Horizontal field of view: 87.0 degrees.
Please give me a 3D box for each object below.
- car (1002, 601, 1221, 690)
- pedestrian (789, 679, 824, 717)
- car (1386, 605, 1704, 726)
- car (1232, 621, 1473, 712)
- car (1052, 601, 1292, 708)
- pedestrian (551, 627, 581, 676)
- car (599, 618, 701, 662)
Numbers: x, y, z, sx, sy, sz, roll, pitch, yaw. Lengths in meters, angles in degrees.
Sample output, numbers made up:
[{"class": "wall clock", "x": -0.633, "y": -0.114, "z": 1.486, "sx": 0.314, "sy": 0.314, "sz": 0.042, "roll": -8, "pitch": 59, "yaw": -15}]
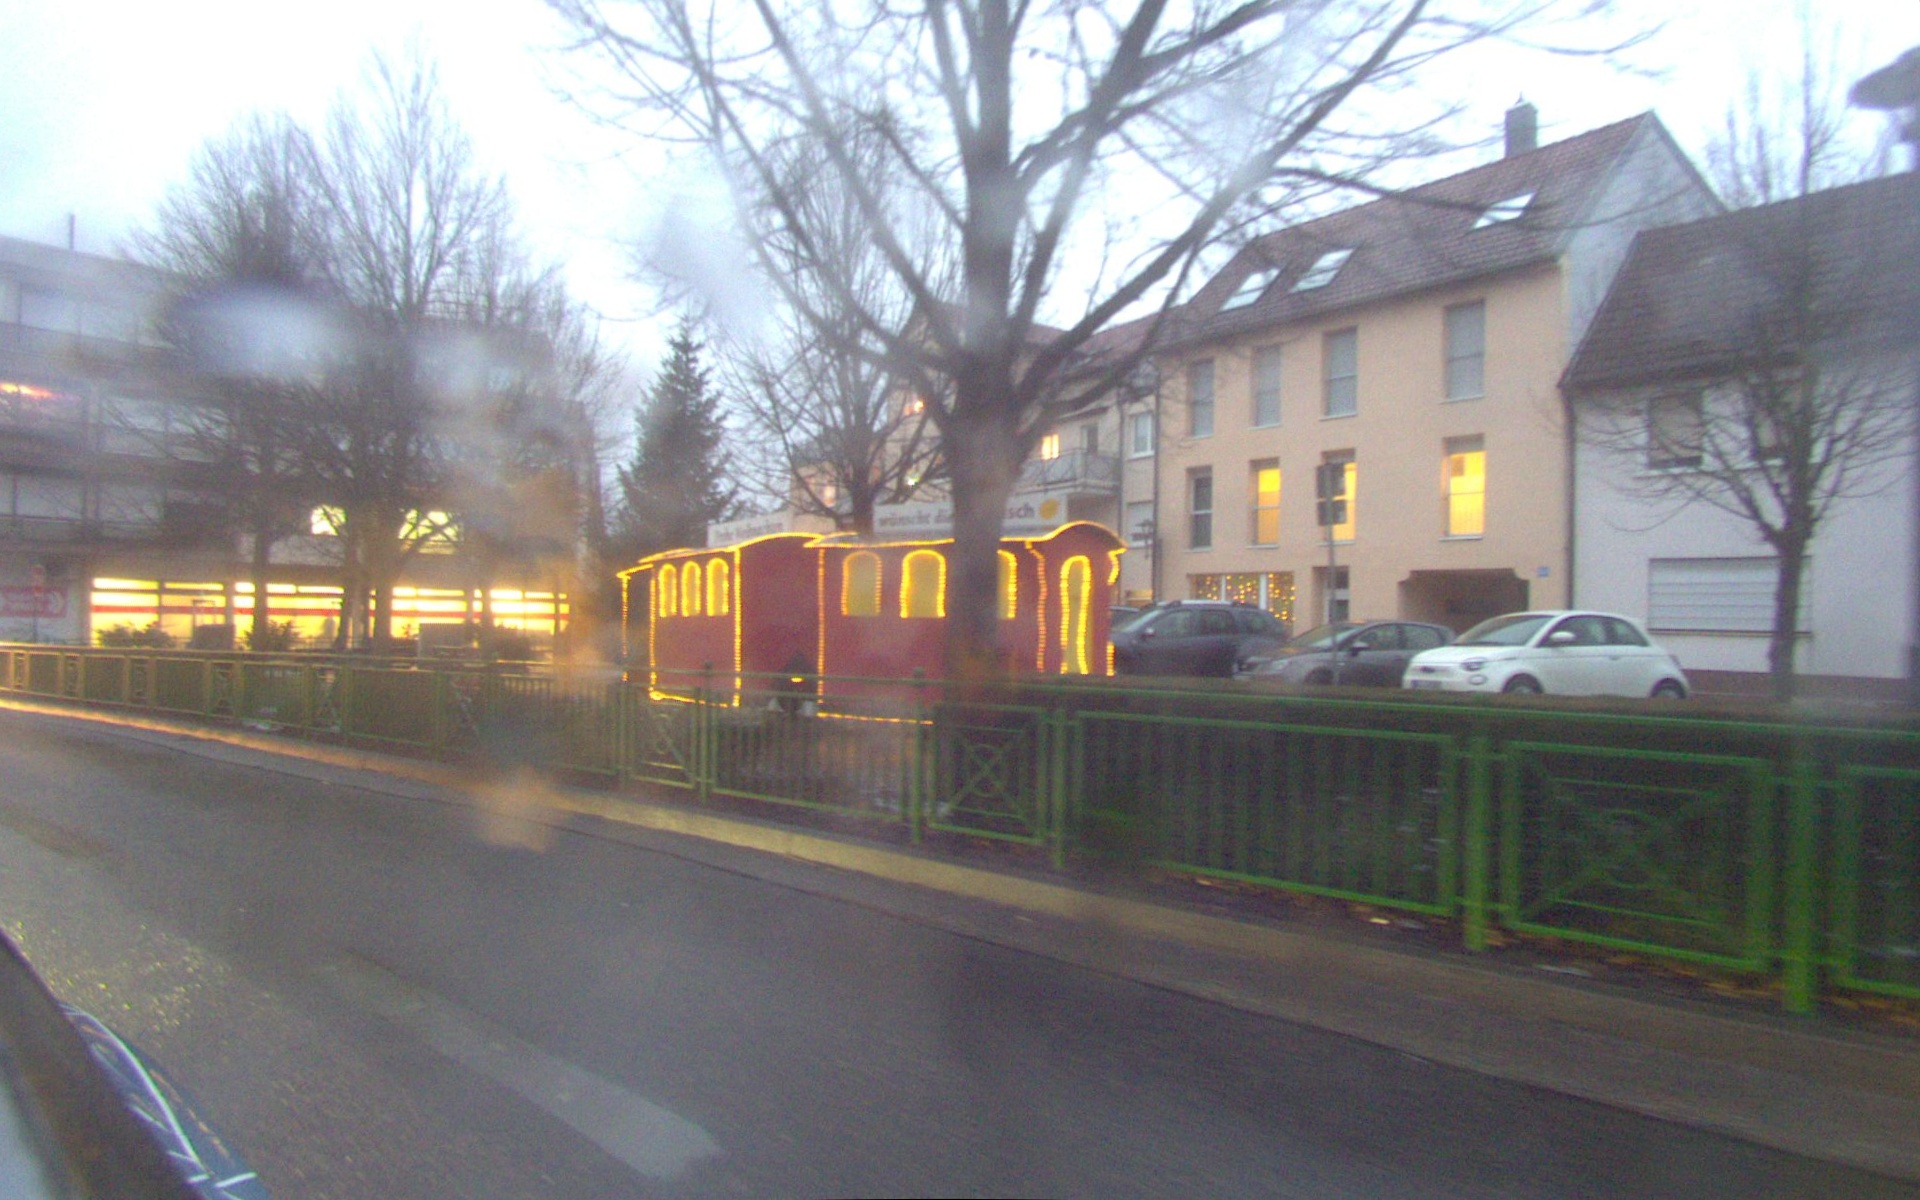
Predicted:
[{"class": "car", "x": 2.932, "y": 0.885, "z": 19.950, "sx": 3.935, "sy": 1.645, "sz": 1.638, "roll": 0, "pitch": -2, "yaw": -10}, {"class": "pedestrian", "x": -2.055, "y": 1.304, "z": 13.525, "sx": 0.361, "sy": 0.488, "sz": 0.291, "roll": -1, "pitch": -4, "yaw": 41}, {"class": "car", "x": 7.655, "y": 0.800, "z": 13.357, "sx": 3.427, "sy": 1.420, "sz": 1.614, "roll": -1, "pitch": -1, "yaw": -14}, {"class": "car", "x": 5.900, "y": 0.959, "z": 15.334, "sx": 3.004, "sy": 1.229, "sz": 1.615, "roll": 0, "pitch": -1, "yaw": -16}, {"class": "car", "x": 3.525, "y": 0.866, "z": 17.008, "sx": 3.573, "sy": 1.624, "sz": 1.615, "roll": 0, "pitch": -1, "yaw": -16}, {"class": "pedestrian", "x": -11.012, "y": 1.428, "z": 28.306, "sx": 0.612, "sy": 1.349, "sz": 0.568, "roll": 0, "pitch": -2, "yaw": -42}, {"class": "car", "x": -11.282, "y": 1.434, "z": 36.928, "sx": 3.260, "sy": 1.519, "sz": 1.504, "roll": 0, "pitch": -1, "yaw": -42}]
